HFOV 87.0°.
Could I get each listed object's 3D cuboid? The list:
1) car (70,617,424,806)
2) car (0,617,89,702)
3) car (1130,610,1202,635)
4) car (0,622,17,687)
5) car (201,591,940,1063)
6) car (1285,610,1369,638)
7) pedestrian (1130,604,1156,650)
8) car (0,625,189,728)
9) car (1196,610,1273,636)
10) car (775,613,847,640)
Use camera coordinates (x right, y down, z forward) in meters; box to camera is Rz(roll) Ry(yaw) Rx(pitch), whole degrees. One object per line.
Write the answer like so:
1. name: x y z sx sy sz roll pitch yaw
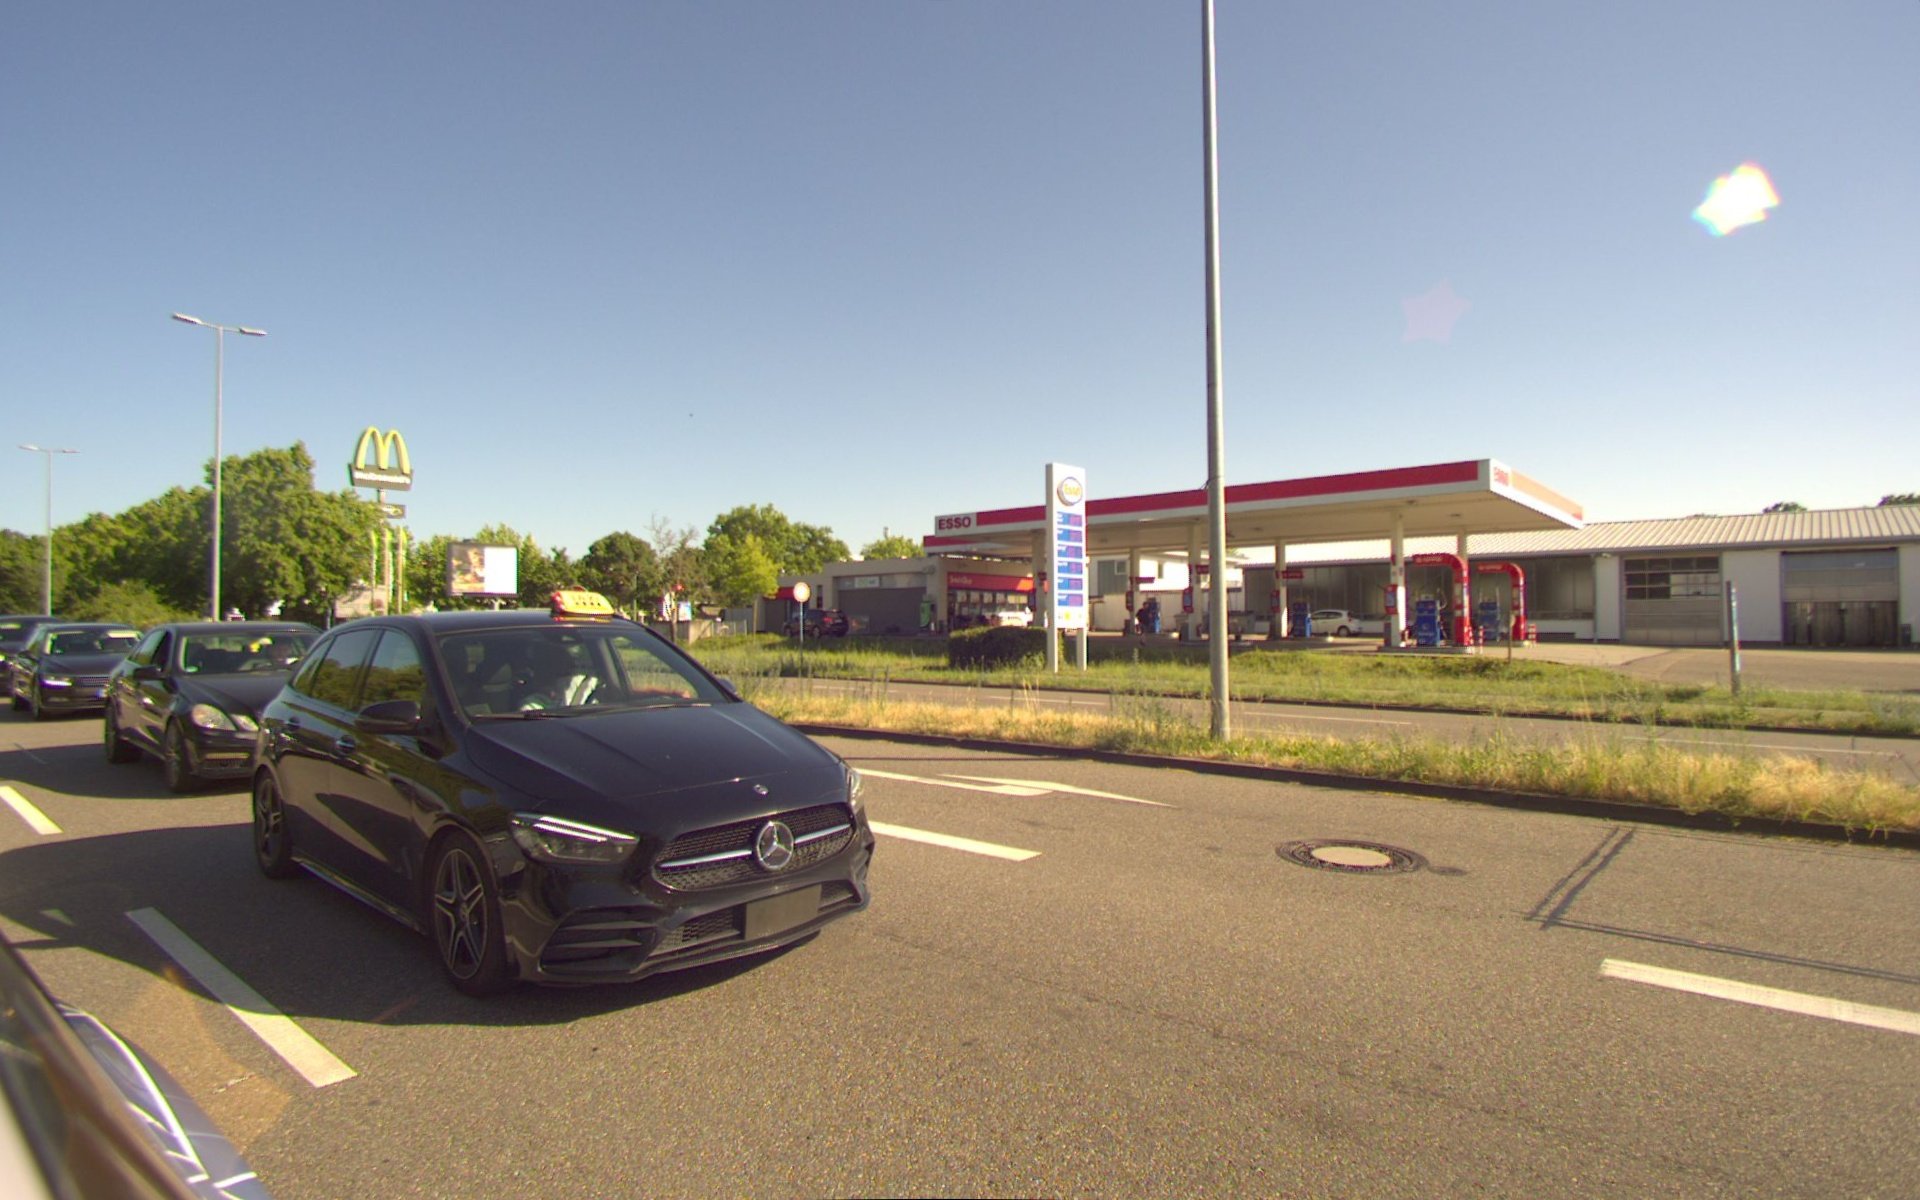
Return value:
1. car: -7.259 0.918 10.127 4.400 1.449 1.845 -1 0 40
2. car: -19.926 1.208 21.444 3.876 1.629 1.653 -2 -1 40
3. car: 12.452 1.389 61.380 3.975 1.420 1.661 -1 -4 40
4. car: -25.211 1.374 25.542 3.774 1.567 1.615 -1 -1 40
5. car: -2.326 0.740 5.330 4.400 1.502 1.741 -1 0 40
6. car: 19.852 1.294 54.839 3.975 1.420 1.661 -1 -4 40
7. pedestrian: 7.124 1.039 39.367 0.892 1.763 0.790 -1 0 5
8. car: -14.395 1.157 16.698 4.284 1.438 1.775 -1 0 40
9. car: 15.849 1.345 58.581 3.975 1.420 1.661 -1 -4 40
10. car: -8.102 1.433 54.849 3.975 1.420 1.661 -1 -4 40
